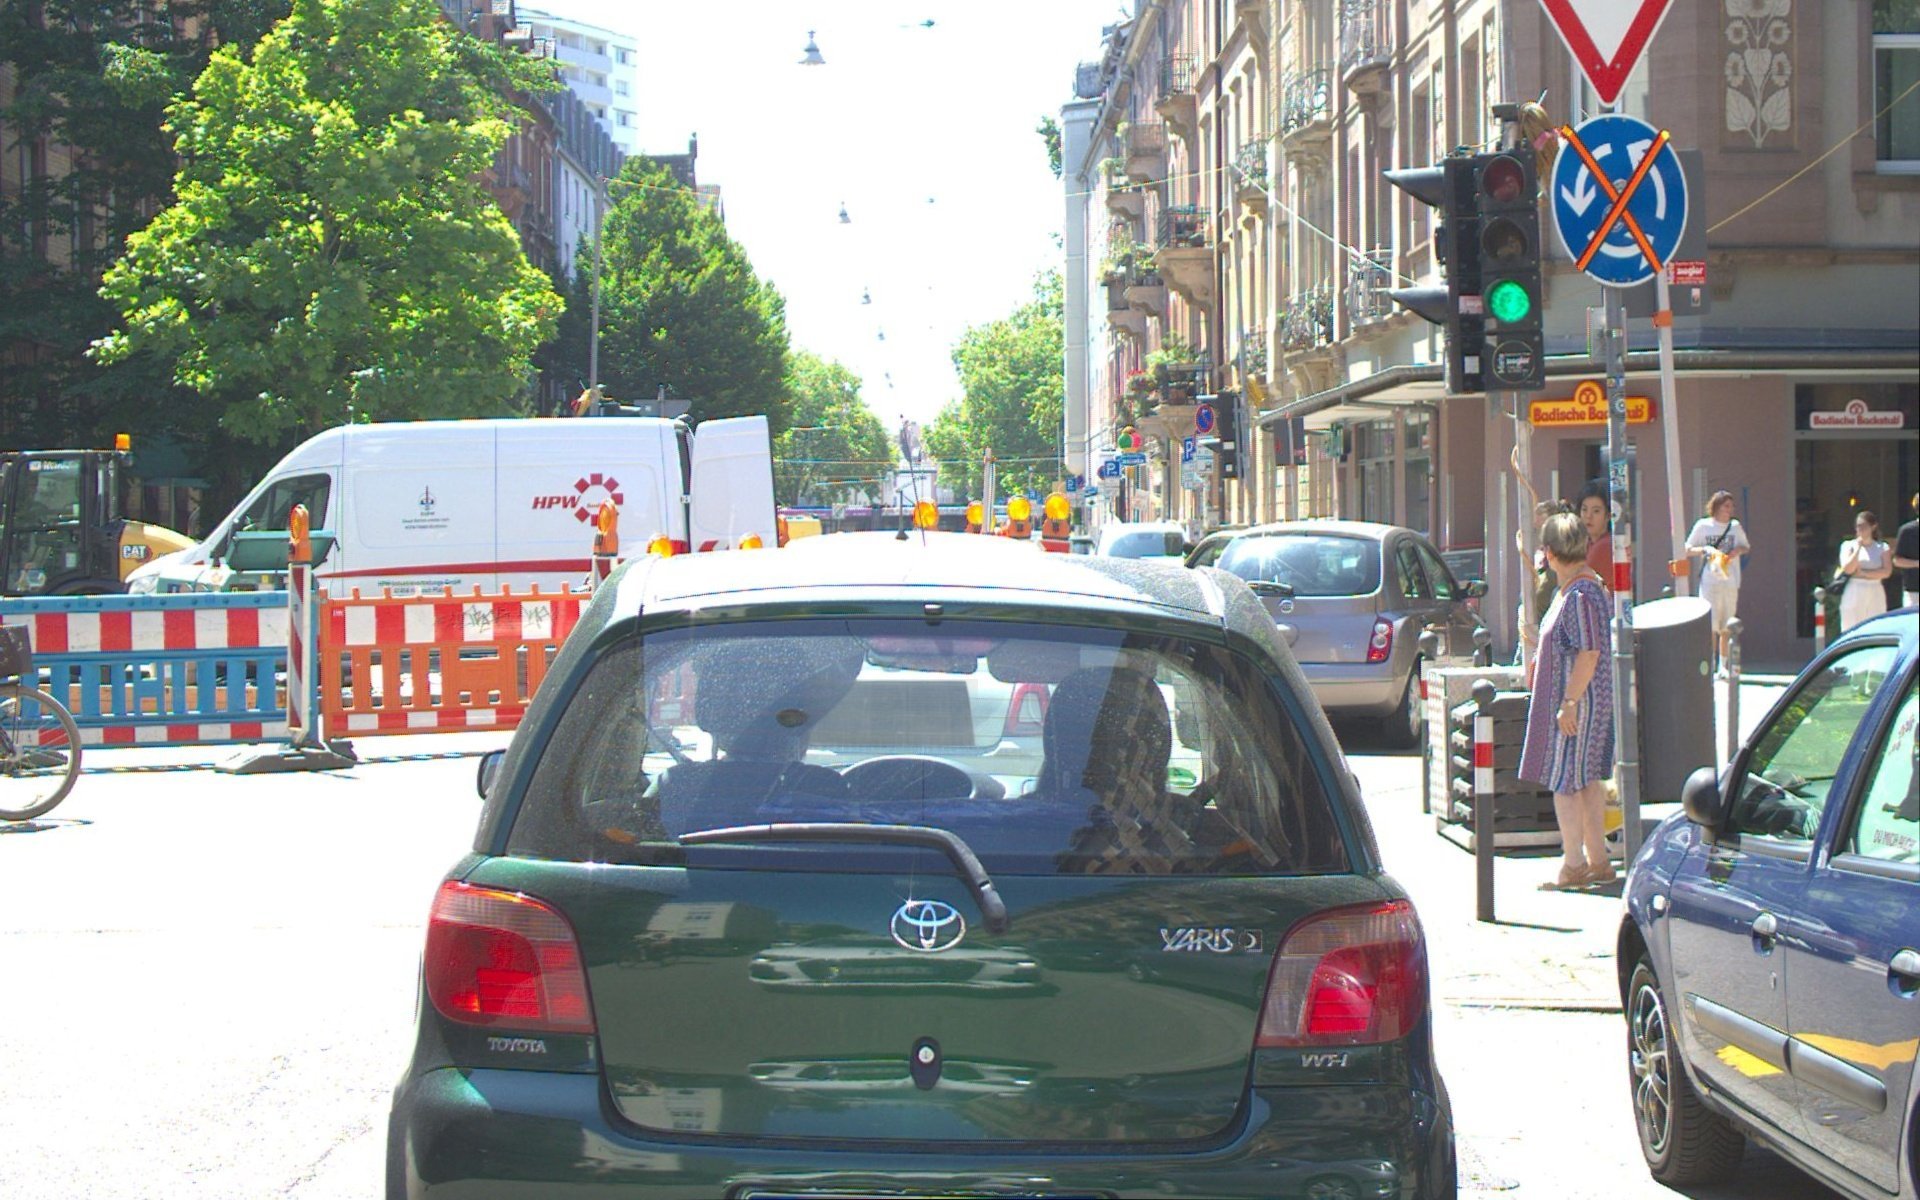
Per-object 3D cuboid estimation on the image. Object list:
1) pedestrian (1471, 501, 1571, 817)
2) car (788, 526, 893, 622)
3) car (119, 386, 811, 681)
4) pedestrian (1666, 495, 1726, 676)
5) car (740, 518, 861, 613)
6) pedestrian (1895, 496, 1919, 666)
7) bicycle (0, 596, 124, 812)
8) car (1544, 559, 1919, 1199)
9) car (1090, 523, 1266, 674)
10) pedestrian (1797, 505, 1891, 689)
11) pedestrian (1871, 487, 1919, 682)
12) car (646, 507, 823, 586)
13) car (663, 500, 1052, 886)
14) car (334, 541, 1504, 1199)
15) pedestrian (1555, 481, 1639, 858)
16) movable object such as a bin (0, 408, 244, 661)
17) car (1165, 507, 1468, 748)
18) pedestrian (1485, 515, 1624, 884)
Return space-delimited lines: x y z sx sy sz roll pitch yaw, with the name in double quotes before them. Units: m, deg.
"pedestrian" 2.799 0.285 17.167 0.459 1.555 0.479 0 1 6
"car" -2.219 -0.508 64.543 1.754 1.639 4.378 -3 1 0
"car" -4.920 -0.676 34.955 6.622 2.742 2.380 1 1 1
"pedestrian" 7.150 -0.139 33.373 0.478 1.727 0.871 0 0 19
"car" -2.514 -0.573 55.052 1.754 1.439 4.000 -1 1 0
"pedestrian" 9.503 -0.189 33.159 0.801 1.618 0.643 0 1 0
"bicycle" -5.474 0.536 18.763 1.806 1.115 0.467 2 2 21
"car" 2.388 0.647 6.963 1.627 1.427 3.661 -1 1 -2
"car" 2.278 -0.055 35.232 1.627 1.427 3.660 -1 1 6
"pedestrian" 8.162 -0.036 31.749 0.701 1.639 0.423 -3 5 -8
"pedestrian" 8.851 -0.153 31.955 0.575 1.762 0.472 -3 5 -8
"car" -6.339 -1.528 96.776 4.557 2.180 2.000 -1 1 -27
"car" -0.430 0.323 15.194 1.522 1.516 3.264 0 1 -1
"car" -0.068 0.642 6.393 1.613 1.480 3.241 1 1 0
"pedestrian" 2.856 0.304 15.435 0.332 1.670 0.401 0 1 6
"movable object such as a bin" -10.363 -0.749 37.725 4.543 2.650 1.955 1 1 0
"car" 2.592 0.140 24.448 1.524 1.587 3.261 0 2 17
"pedestrian" 2.536 0.417 14.695 0.493 1.538 0.436 -2 1 6
